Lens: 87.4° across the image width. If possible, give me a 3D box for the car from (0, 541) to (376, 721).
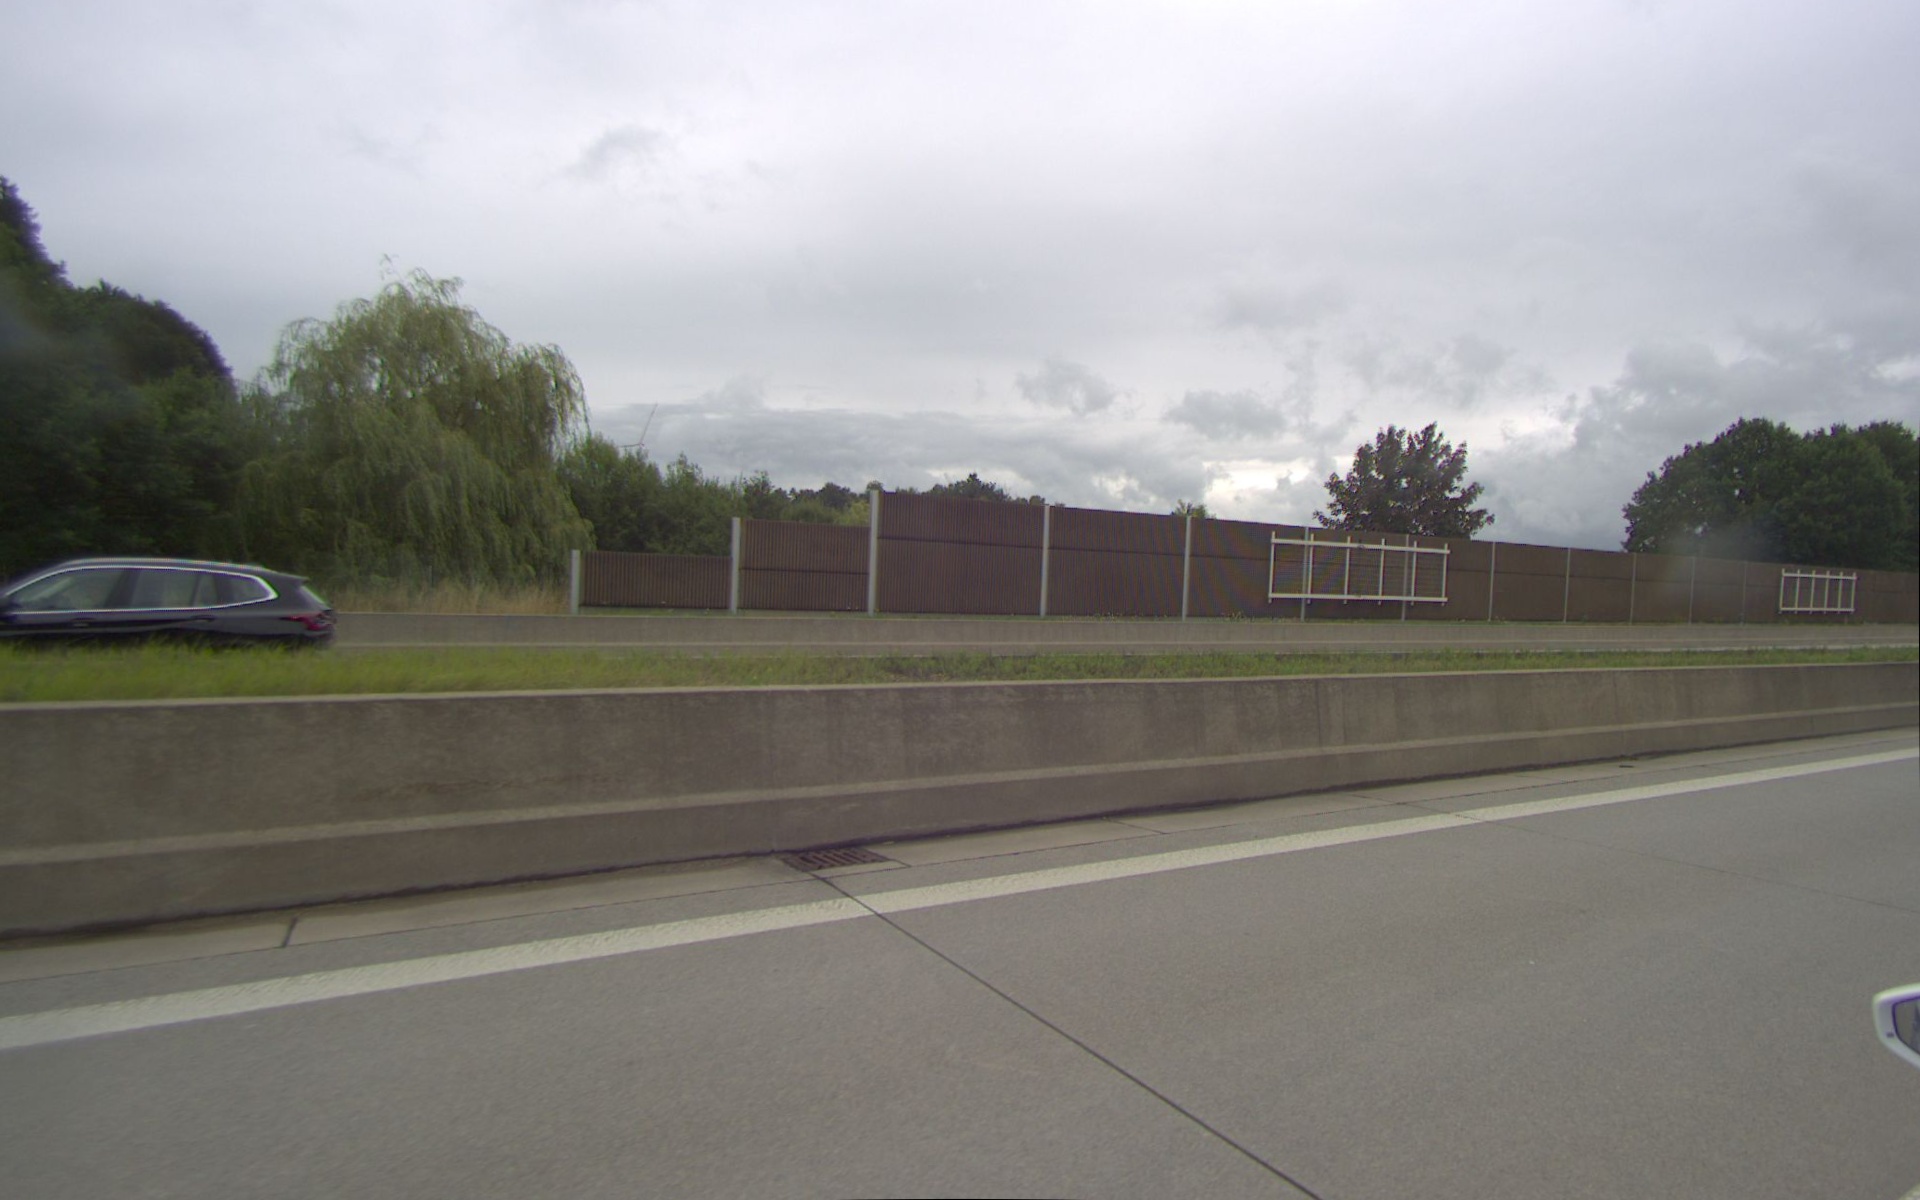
[{"bbox_3d":[-9.266,0.317,11.229,4.679,1.790,1.806,2,0,-32],"label":"car"}]
